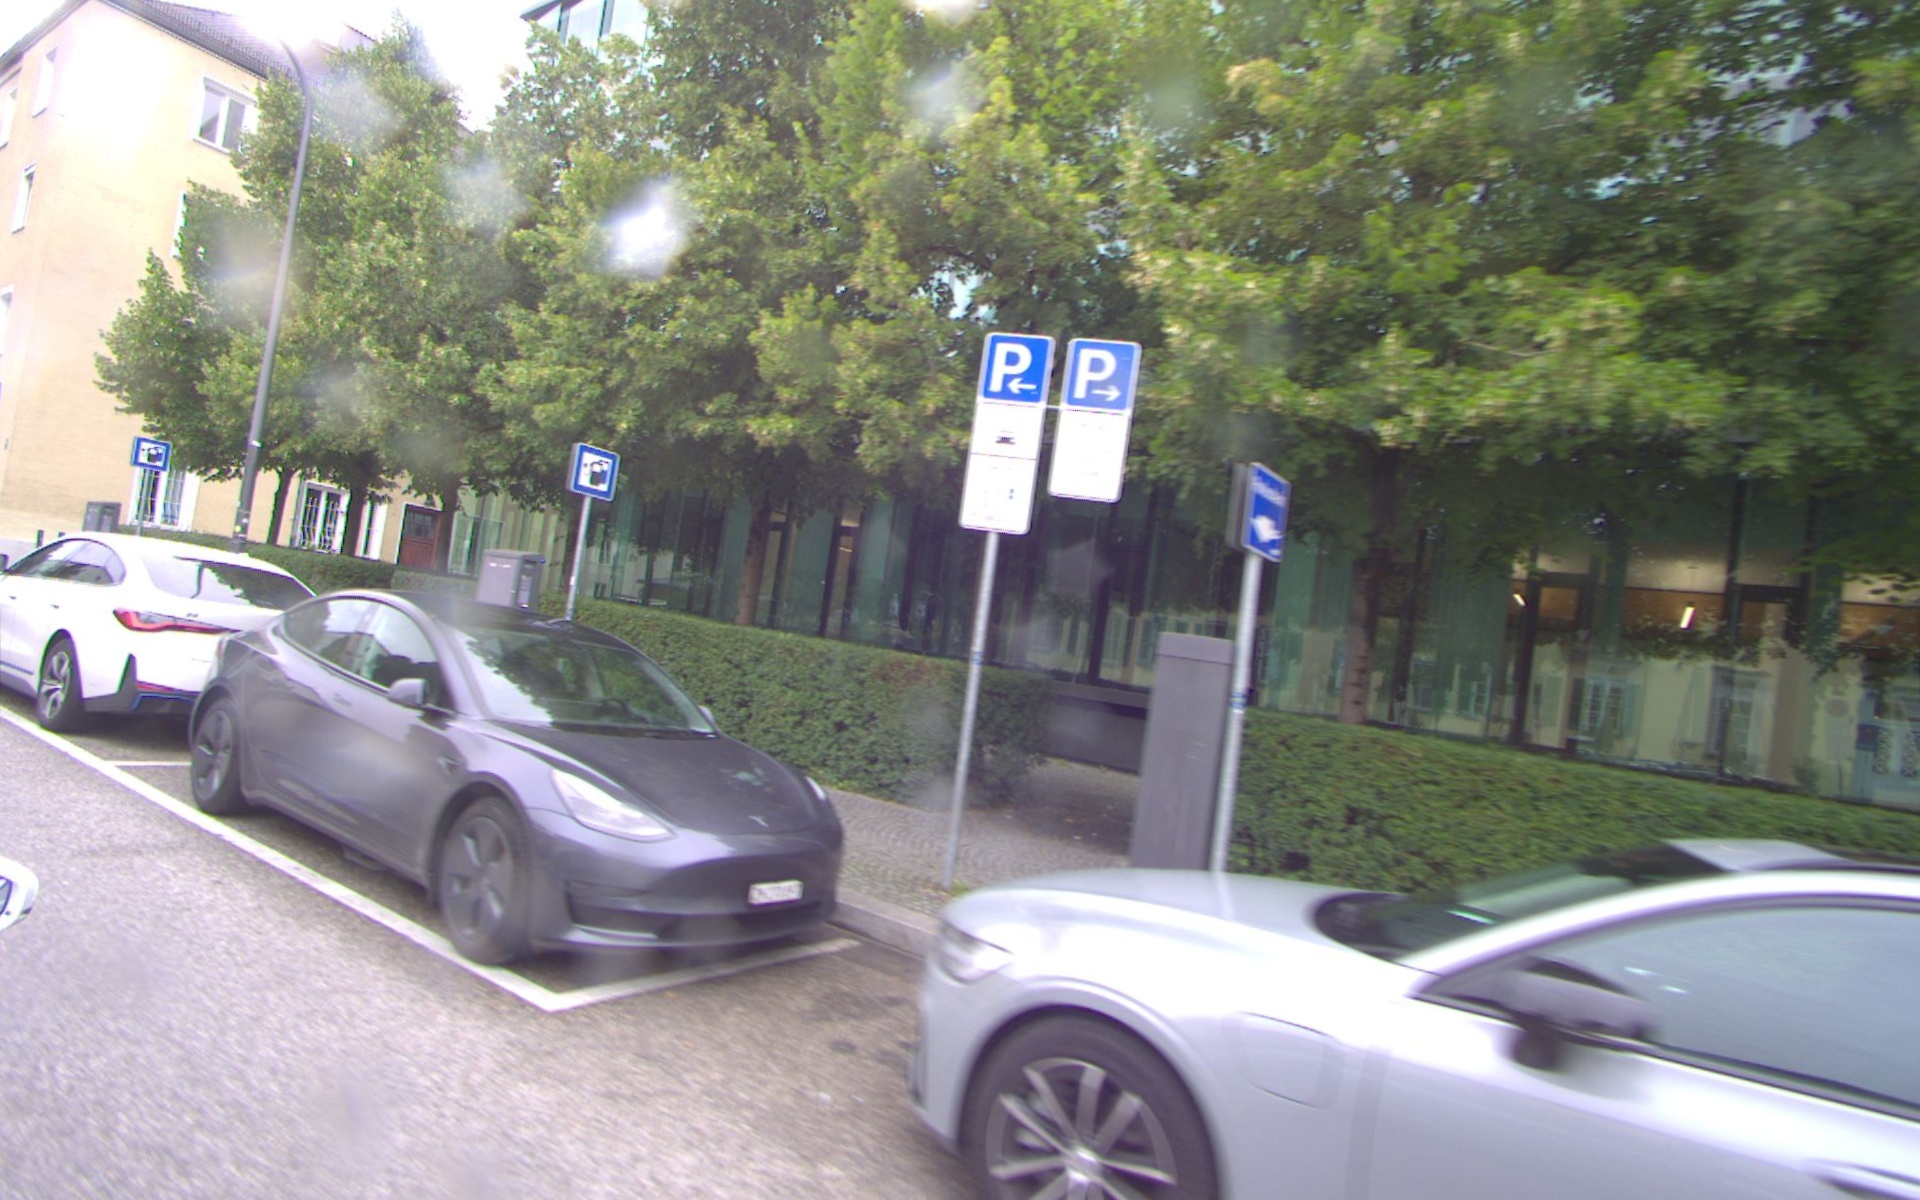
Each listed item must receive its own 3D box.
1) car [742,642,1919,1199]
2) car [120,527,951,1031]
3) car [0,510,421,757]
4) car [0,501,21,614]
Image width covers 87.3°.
[{"bbox_3d":[2.051,1.278,2.415,4.923,1.568,1.953,7,-4,33],"label":"car"},{"bbox_3d":[-2.644,0.676,5.766,4.773,1.568,1.967,6,-4,35],"label":"car"},{"bbox_3d":[-7.106,0.170,8.712,4.875,1.475,2.000,7,-4,32],"label":"car"},{"bbox_3d":[-14.947,-0.802,13.781,5.021,1.648,1.997,6,-4,36],"label":"car"}]
